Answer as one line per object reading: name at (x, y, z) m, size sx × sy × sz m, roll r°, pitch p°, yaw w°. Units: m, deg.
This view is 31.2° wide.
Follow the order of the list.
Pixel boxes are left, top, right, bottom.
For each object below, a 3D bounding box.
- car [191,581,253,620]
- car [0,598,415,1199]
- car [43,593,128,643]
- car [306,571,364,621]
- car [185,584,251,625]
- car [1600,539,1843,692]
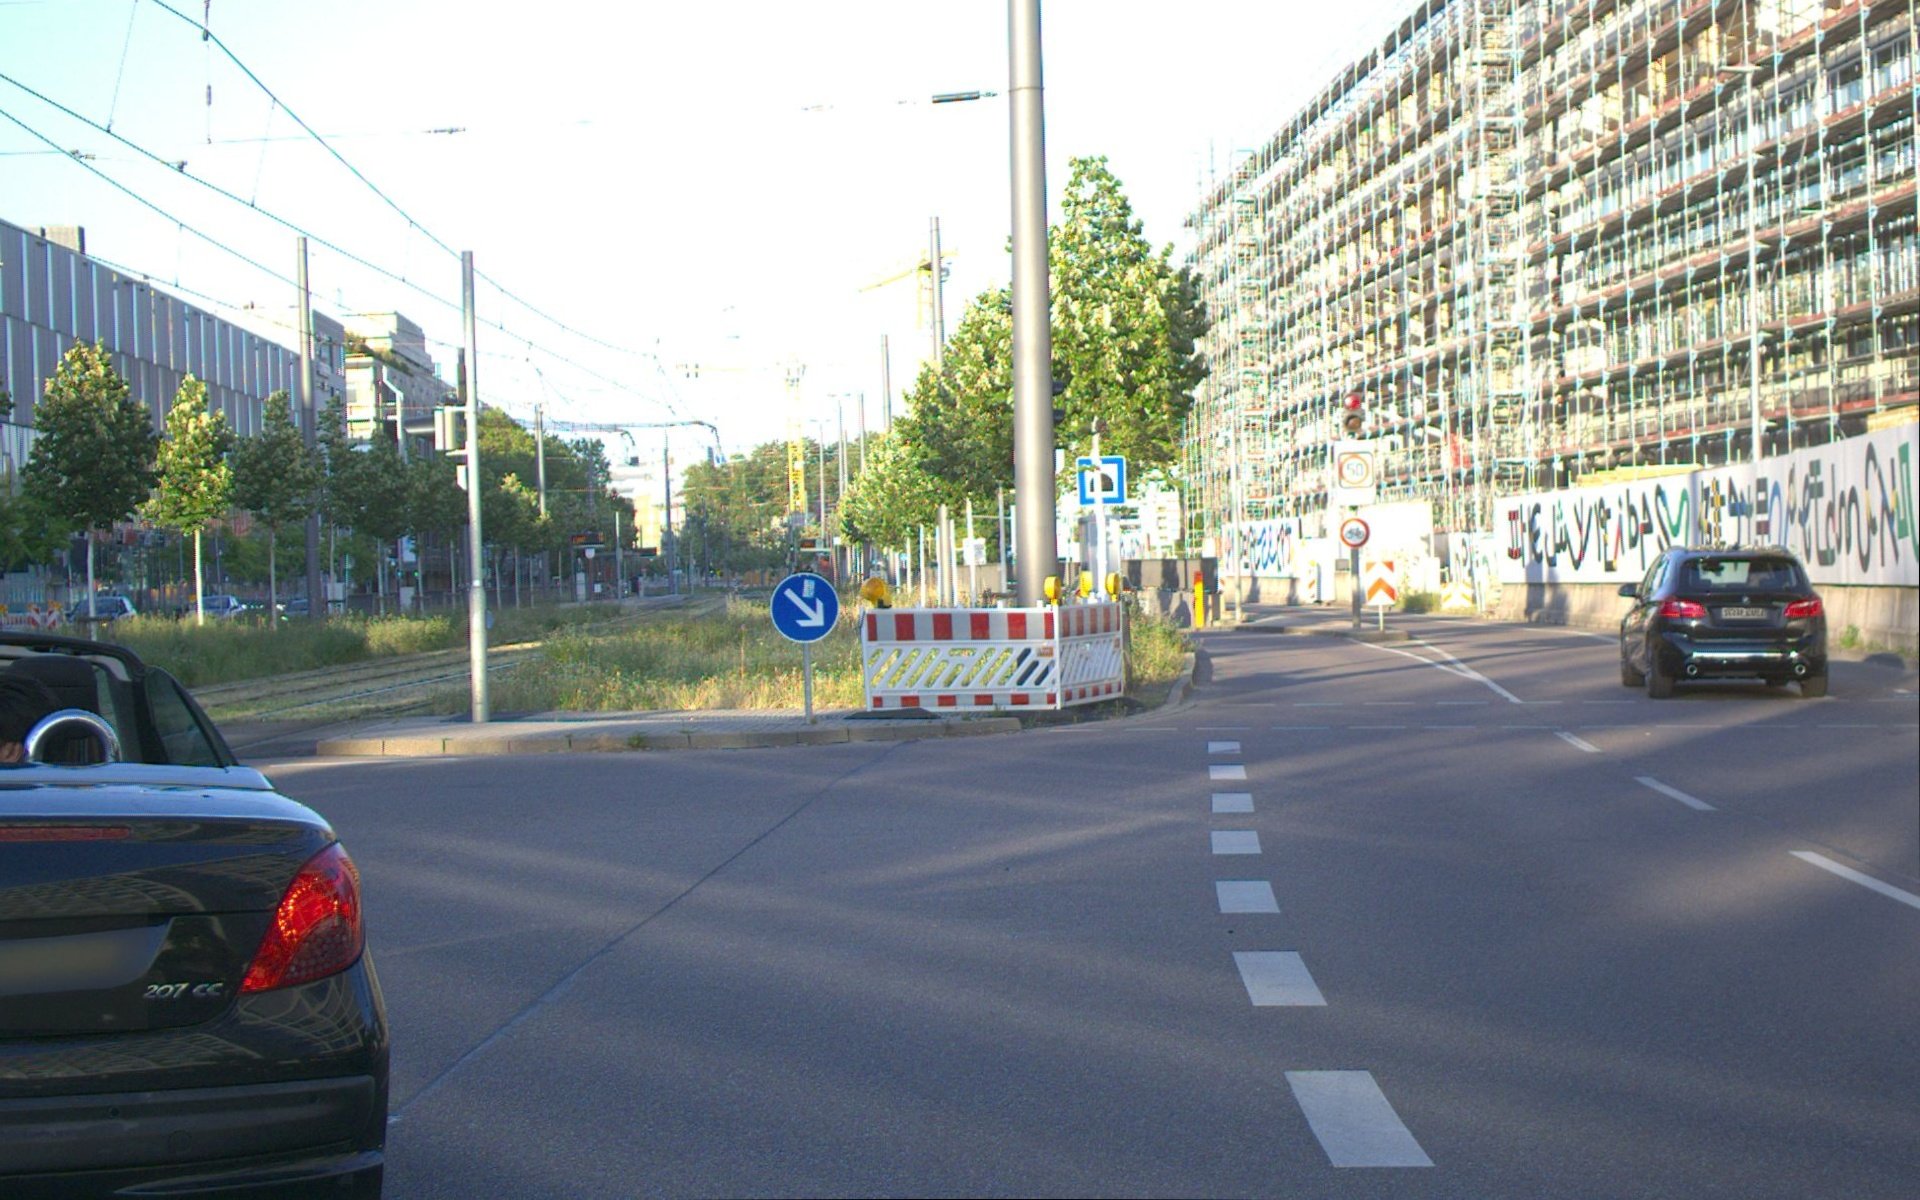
car at (-28.732, 0.020, 133.937) m, size 1.657 × 1.426 × 3.895 m, roll 0°, pitch 1°, yaw -1°
car at (-2.510, 0.706, 8.022) m, size 1.674 × 1.347 × 4.001 m, roll -1°, pitch 1°, yaw -21°
car at (-26.672, 0.535, 104.926) m, size 1.657 × 1.426 × 3.895 m, roll 0°, pitch 1°, yaw -1°
car at (-25.455, -0.172, 140.079) m, size 1.657 × 1.957 × 4.267 m, roll 0°, pitch 1°, yaw -1°
car at (-27.329, 0.171, 126.775) m, size 1.657 × 1.426 × 3.895 m, roll 0°, pitch 1°, yaw -1°
car at (7.968, 0.118, 36.352) m, size 1.821 × 1.513 × 4.791 m, roll 0°, pitch 1°, yaw 4°
